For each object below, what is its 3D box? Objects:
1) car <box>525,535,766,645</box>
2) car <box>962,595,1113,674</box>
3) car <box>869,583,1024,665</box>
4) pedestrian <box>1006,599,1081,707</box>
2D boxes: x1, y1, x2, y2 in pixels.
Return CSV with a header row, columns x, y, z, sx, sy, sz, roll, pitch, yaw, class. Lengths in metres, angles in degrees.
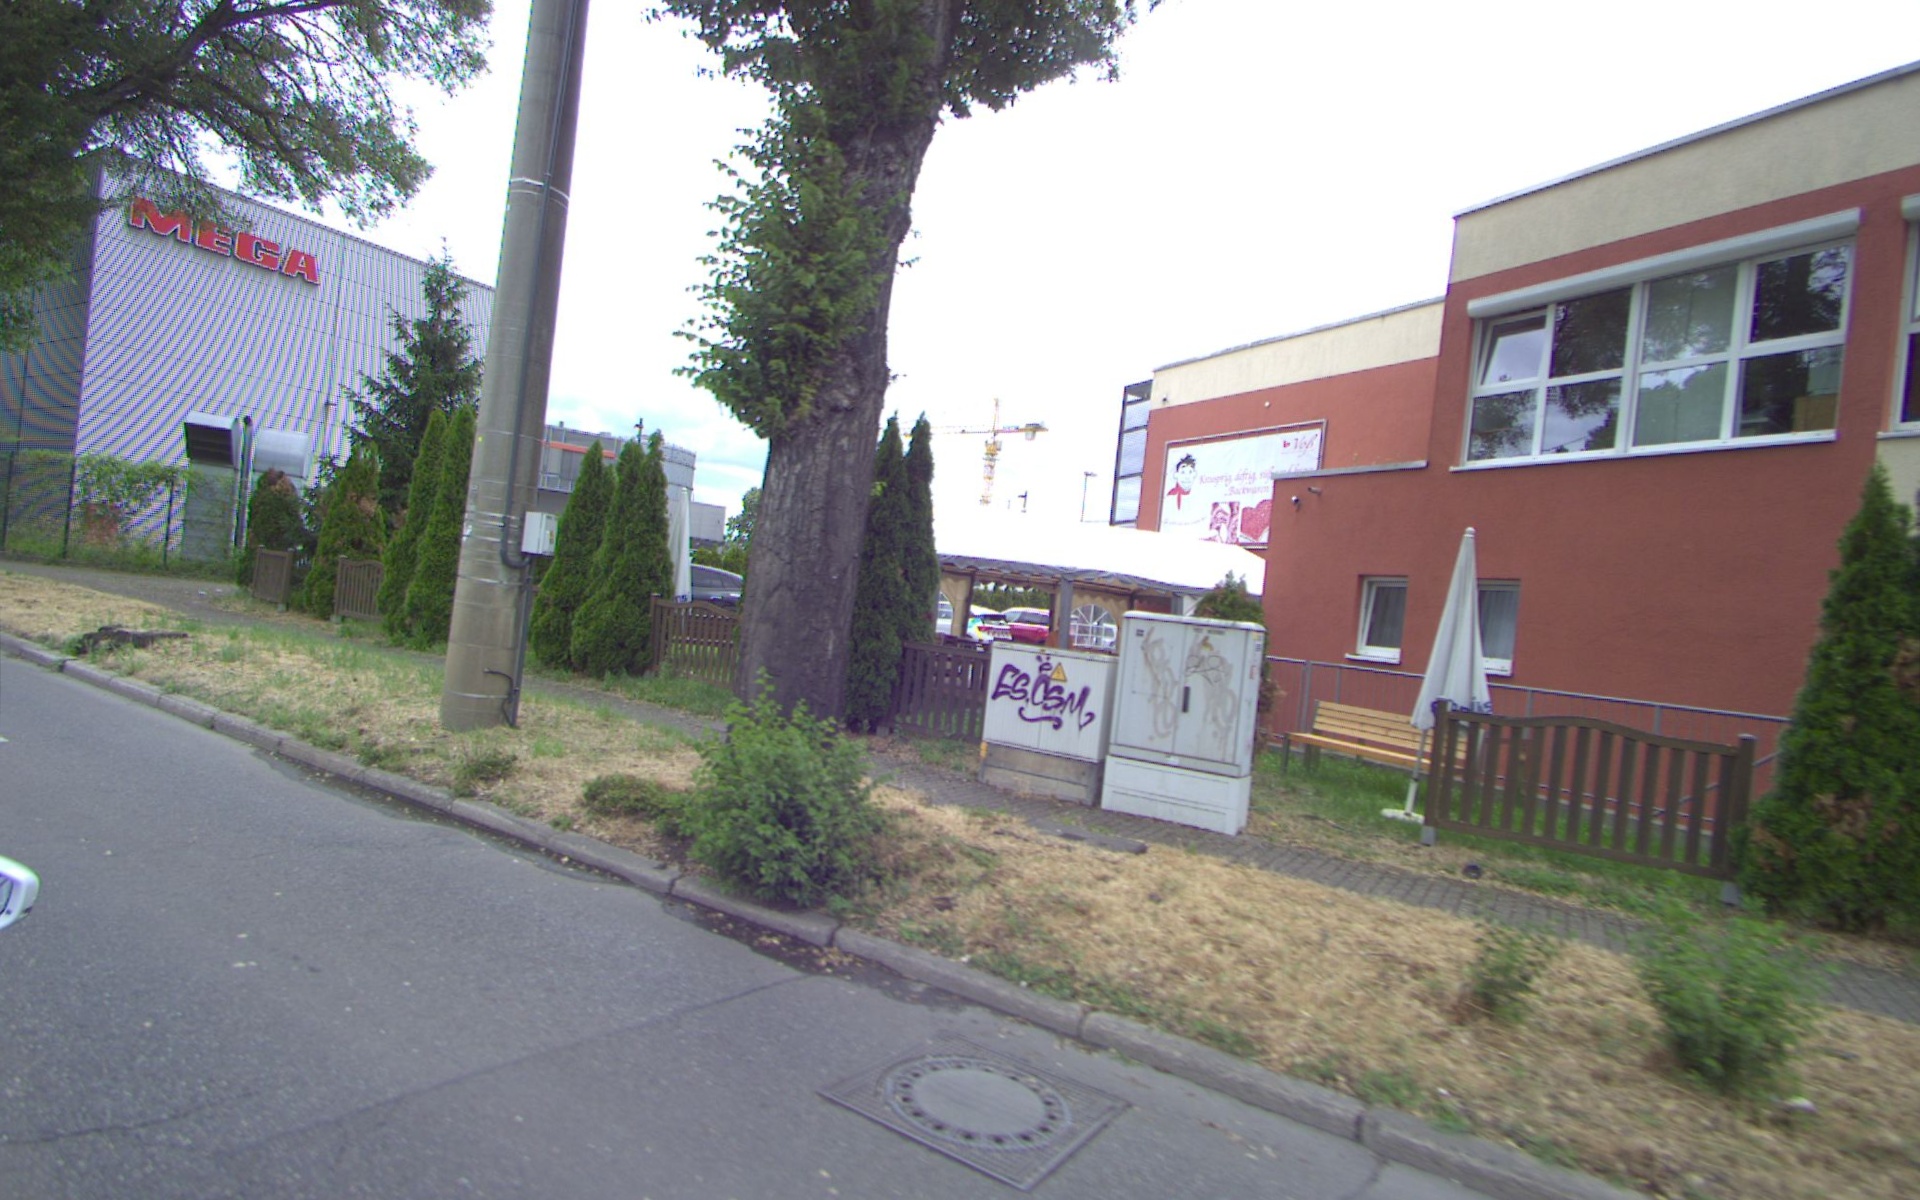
x,y,z,sx,sy,sz,roll,pitch,yaw,class
-6.575,-0.184,21.217,4.339,1.726,1.980,8,-1,-37,car
2.336,1.028,30.452,3.937,1.860,1.995,6,-1,35,car
-0.412,0.685,29.239,3.937,1.860,1.995,6,-1,35,car
1.250,0.786,15.147,0.695,1.508,0.766,6,0,-21,pedestrian
